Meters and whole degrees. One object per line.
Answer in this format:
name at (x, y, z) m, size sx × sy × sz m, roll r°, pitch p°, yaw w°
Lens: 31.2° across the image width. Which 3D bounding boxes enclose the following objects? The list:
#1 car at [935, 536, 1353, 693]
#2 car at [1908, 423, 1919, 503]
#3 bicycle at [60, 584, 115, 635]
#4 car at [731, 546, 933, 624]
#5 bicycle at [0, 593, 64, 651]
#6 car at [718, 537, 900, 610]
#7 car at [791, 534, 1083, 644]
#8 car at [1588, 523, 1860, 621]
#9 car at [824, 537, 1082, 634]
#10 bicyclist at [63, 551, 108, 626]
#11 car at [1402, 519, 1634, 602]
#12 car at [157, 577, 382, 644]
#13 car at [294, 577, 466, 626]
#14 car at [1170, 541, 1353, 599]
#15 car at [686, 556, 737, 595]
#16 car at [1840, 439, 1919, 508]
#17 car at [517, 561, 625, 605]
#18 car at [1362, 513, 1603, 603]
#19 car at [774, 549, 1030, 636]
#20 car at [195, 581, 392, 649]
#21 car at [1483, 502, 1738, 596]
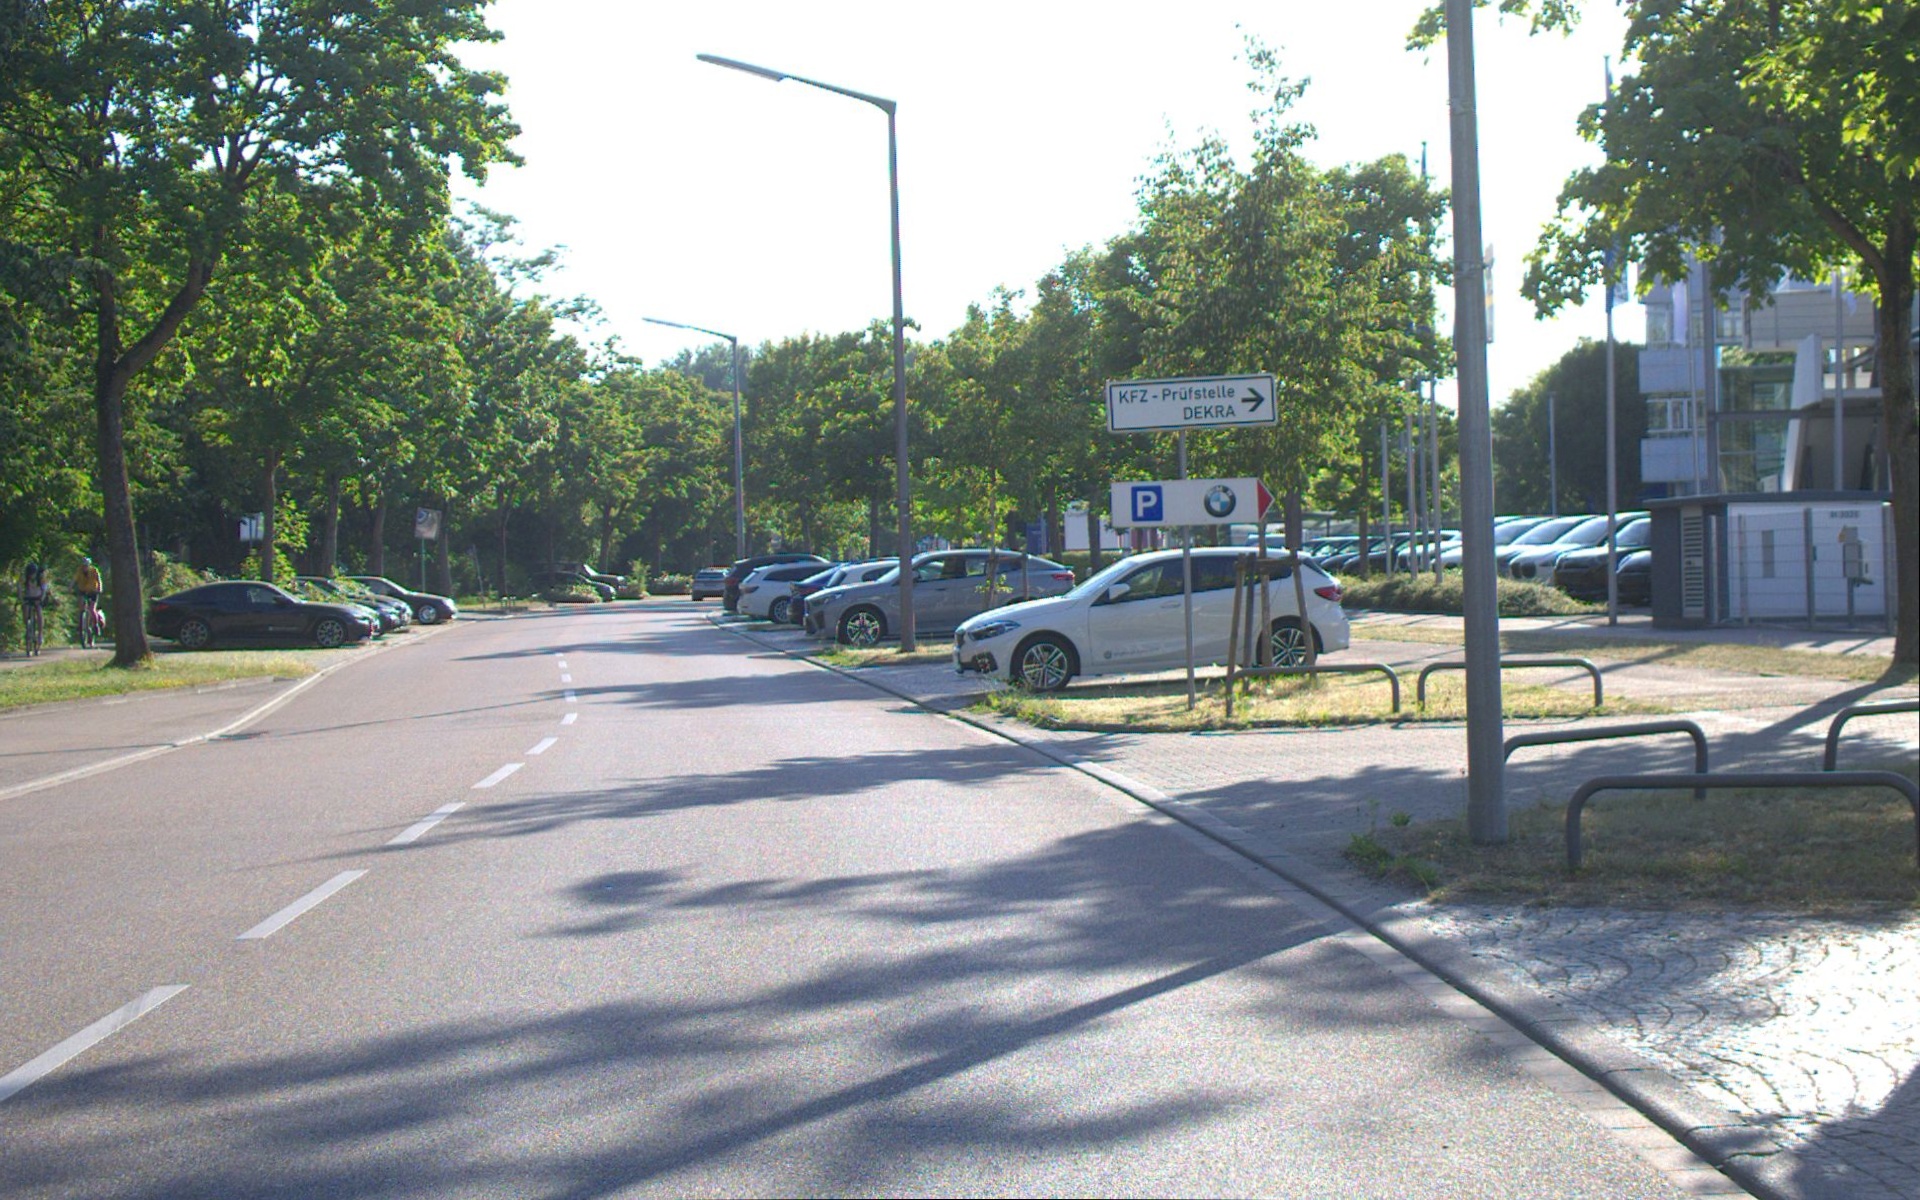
car at (1.969, 0.142, 37.694) m, size 4.197 × 1.439 × 2.089 m, roll -3°, pitch 1°, yaw -7°
car at (22.169, -2.870, 72.437) m, size 3.988 × 1.660 × 1.787 m, roll 1°, pitch 1°, yaw 7°
bicycle at (-18.267, 0.190, 71.995) m, size 0.765 × 1.036 × 2.218 m, roll -2°, pitch 1°, yaw -6°
car at (-3.115, -0.376, 83.330) m, size 4.694 × 1.474 × 2.001 m, roll -3°, pitch 5°, yaw -6°
bicycle at (-17.302, 0.398, 64.130) m, size 0.765 × 1.036 × 2.218 m, roll -2°, pitch 1°, yaw -6°
car at (-3.965, -0.717, 90.971) m, size 4.694 × 1.745 × 2.192 m, roll -2°, pitch 1°, yaw -1°
car at (-0.412, -0.192, 57.685) m, size 4.589 × 1.579 × 2.000 m, roll -3°, pitch 1°, yaw -9°
car at (13.431, -0.488, 60.393) m, size 4.590 × 1.661 × 2.000 m, roll 0°, pitch 0°, yaw -32°
car at (-0.157, -0.266, 61.838) m, size 4.375 × 1.474 × 2.000 m, roll -3°, pitch 1°, yaw -6°
bicyclist at (-18.283, -0.246, 71.881) m, size 0.730 × 1.525 × 0.951 m, roll -2°, pitch 0°, yaw -6°
car at (11.724, -0.837, 72.137) m, size 4.590 × 1.568 × 2.000 m, roll -2°, pitch 1°, yaw -32°
car at (-14.867, 0.224, 74.253) m, size 4.648 × 1.417 × 1.917 m, roll 0°, pitch 0°, yaw -8°
car at (-17.655, 0.043, 104.839) m, size 5.034 × 1.457 × 2.000 m, roll 0°, pitch 0°, yaw -5°
car at (8.498, -0.851, 97.059) m, size 4.783 × 1.459 × 1.996 m, roll -2°, pitch 1°, yaw 36°
car at (-11.413, -1.140, 158.297) m, size 1.993 × 1.711 × 4.000 m, roll -1°, pitch 1°, yaw 1°
car at (24.092, -3.134, 85.673) m, size 3.988 × 1.660 × 1.787 m, roll 1°, pitch 1°, yaw 7°
car at (-19.200, -0.835, 169.840) m, size 5.005 × 2.013 × 2.174 m, roll -1°, pitch 0°, yaw 2°
car at (11.437, -0.928, 75.197) m, size 4.714 × 1.684 × 2.411 m, roll -4°, pitch 1°, yaw -32°
car at (-1.126, -0.160, 64.732) m, size 4.623 × 1.451 × 2.000 m, roll -2°, pitch 1°, yaw -6°
car at (-15.464, 0.341, 79.925) m, size 4.286 × 1.525 × 2.000 m, roll 0°, pitch 0°, yaw -5°
car at (12.546, -0.985, 66.254) m, size 4.590 × 1.568 × 2.000 m, roll -3°, pitch 1°, yaw -30°
